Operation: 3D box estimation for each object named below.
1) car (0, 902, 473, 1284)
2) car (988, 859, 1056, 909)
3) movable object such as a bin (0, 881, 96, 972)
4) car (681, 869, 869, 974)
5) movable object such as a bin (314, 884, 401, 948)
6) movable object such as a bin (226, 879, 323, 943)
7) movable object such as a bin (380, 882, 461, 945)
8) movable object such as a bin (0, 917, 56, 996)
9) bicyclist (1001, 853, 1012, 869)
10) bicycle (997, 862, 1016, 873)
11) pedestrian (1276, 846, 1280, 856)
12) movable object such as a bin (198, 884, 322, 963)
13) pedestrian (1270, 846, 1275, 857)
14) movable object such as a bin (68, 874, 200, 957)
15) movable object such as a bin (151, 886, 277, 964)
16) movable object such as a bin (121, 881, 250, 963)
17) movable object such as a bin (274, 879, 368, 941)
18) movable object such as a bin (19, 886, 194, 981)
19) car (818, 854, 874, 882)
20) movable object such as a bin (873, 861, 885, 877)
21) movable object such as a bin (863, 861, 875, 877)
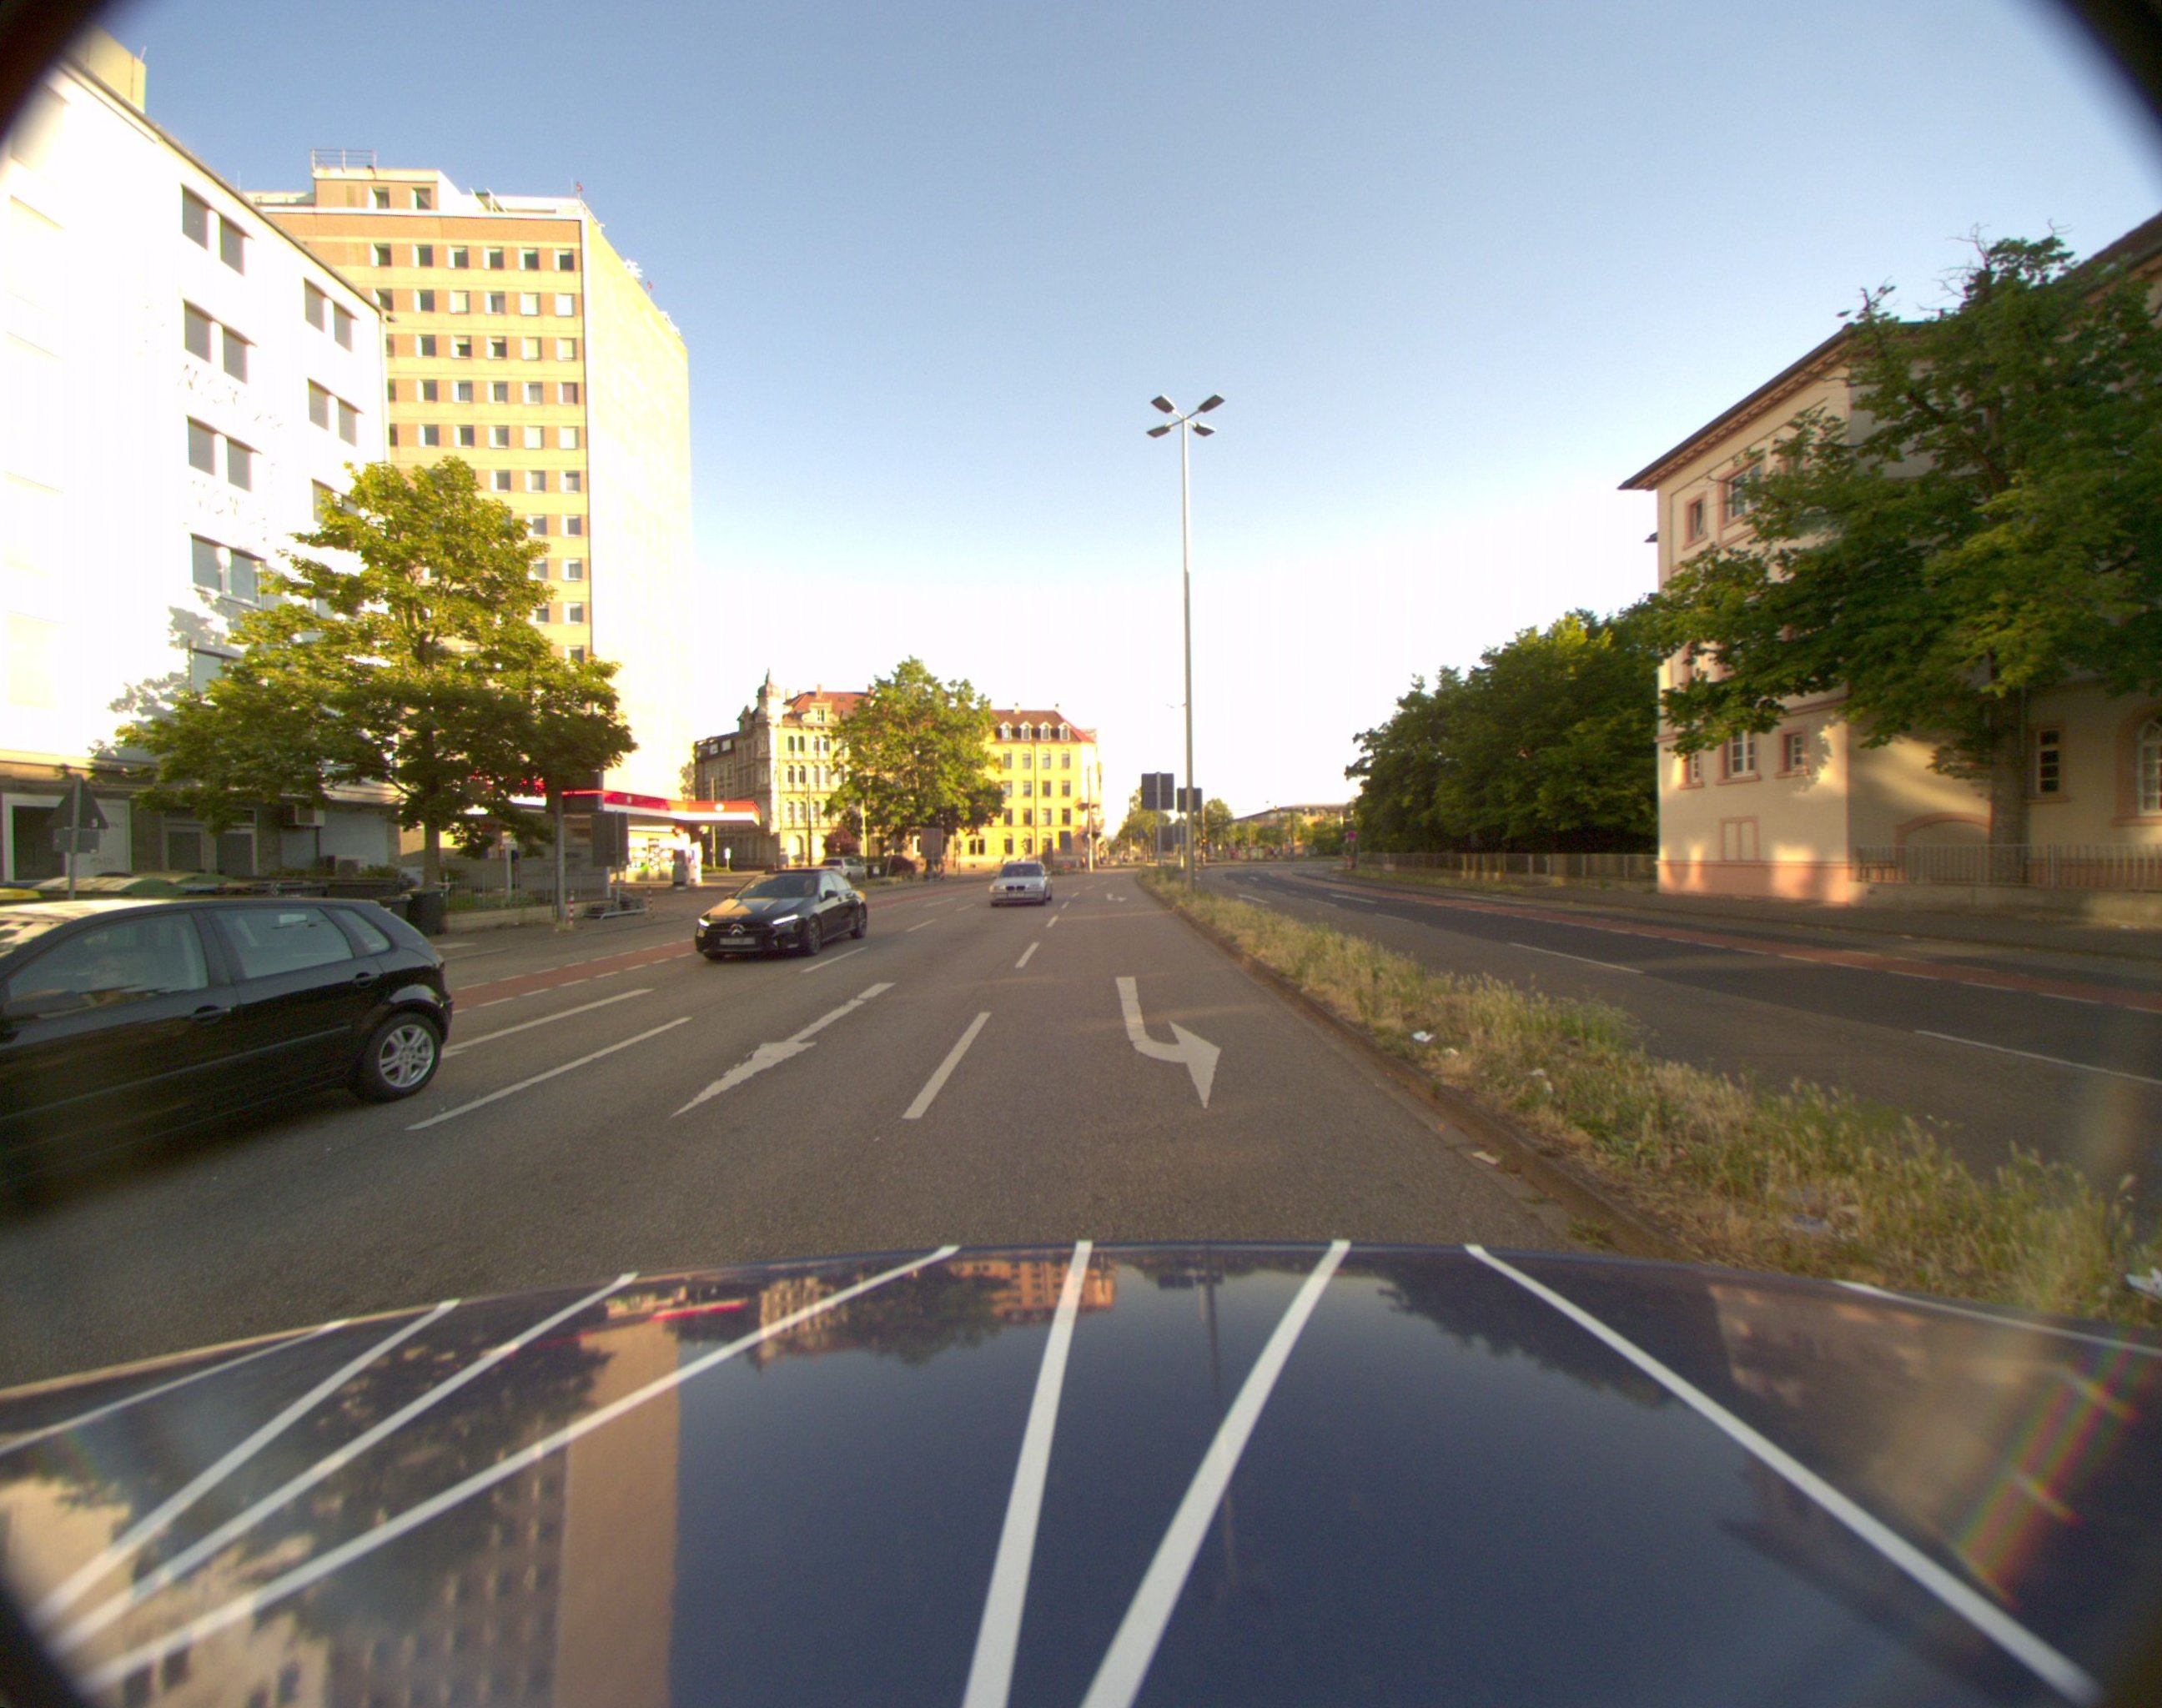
[{"bbox_3d":[-5.356,1.111,3.706,1.584,1.441,3.872,-2,0,1],"label":"car"},{"bbox_3d":[-1.861,0.913,25.146,1.674,1.410,4.441,-2,0,2],"label":"car"},{"bbox_3d":[-18.691,1.259,13.411,1.034,1.490,1.162,-1,1,-2],"label":"movable object such as a bin"},{"bbox_3d":[-5.189,1.062,13.524,1.731,1.441,4.045,-2,0,-1],"label":"car"},{"bbox_3d":[-15.858,1.345,16.692,0.956,1.320,0.953,-1,1,-2],"label":"movable object such as a bin"},{"bbox_3d":[-17.931,1.246,16.922,0.956,1.320,1.098,-1,1,-2],"label":"movable object such as a bin"},{"bbox_3d":[-14.880,1.329,17.144,0.956,1.320,0.953,-1,1,-2],"label":"movable object such as a bin"},{"bbox_3d":[-15.514,1.460,10.753,0.853,1.039,0.819,-1,1,-4],"label":"movable object such as a bin"},{"bbox_3d":[-7.635,0.727,77.877,1.065,1.639,0.732,-1,1,-7],"label":"bicyclist"},{"bbox_3d":[-7.637,1.372,77.881,1.927,1.053,0.451,-1,1,-7],"label":"bicycle"},{"bbox_3d":[34.114,-0.494,131.681,0.467,1.695,0.419,-1,1,1],"label":"pedestrian"},{"bbox_3d":[-14.934,1.238,13.864,0.956,1.320,1.162,-1,1,-2],"label":"movable object such as a bin"},{"bbox_3d":[33.255,-0.431,131.921,0.556,2.002,0.664,-1,1,1],"label":"pedestrian"},{"bbox_3d":[-18.300,1.162,14.723,1.034,1.490,1.162,-1,1,-2],"label":"movable object such as a bin"},{"bbox_3d":[-16.040,1.293,14.101,0.956,1.320,1.162,-1,1,-2],"label":"movable object such as a bin"},{"bbox_3d":[-17.124,1.274,14.570,1.034,1.440,1.162,-1,1,-2],"label":"movable object such as a bin"},{"bbox_3d":[-16.933,1.234,16.966,0.956,1.276,1.098,-1,1,-2],"label":"movable object such as a bin"},{"bbox_3d":[-15.913,1.264,12.458,1.351,1.415,1.105,-1,1,-4],"label":"movable object such as a bin"},{"bbox_3d":[-13.956,0.820,45.282,1.688,1.508,3.797,-1,1,8],"label":"car"},{"bbox_3d":[-13.149,0.975,49.561,0.544,1.013,0.688,-1,1,5],"label":"movable object such as a bin"},{"bbox_3d":[-13.870,0.990,49.771,0.544,1.013,0.688,-1,1,5],"label":"movable object such as a bin"}]
